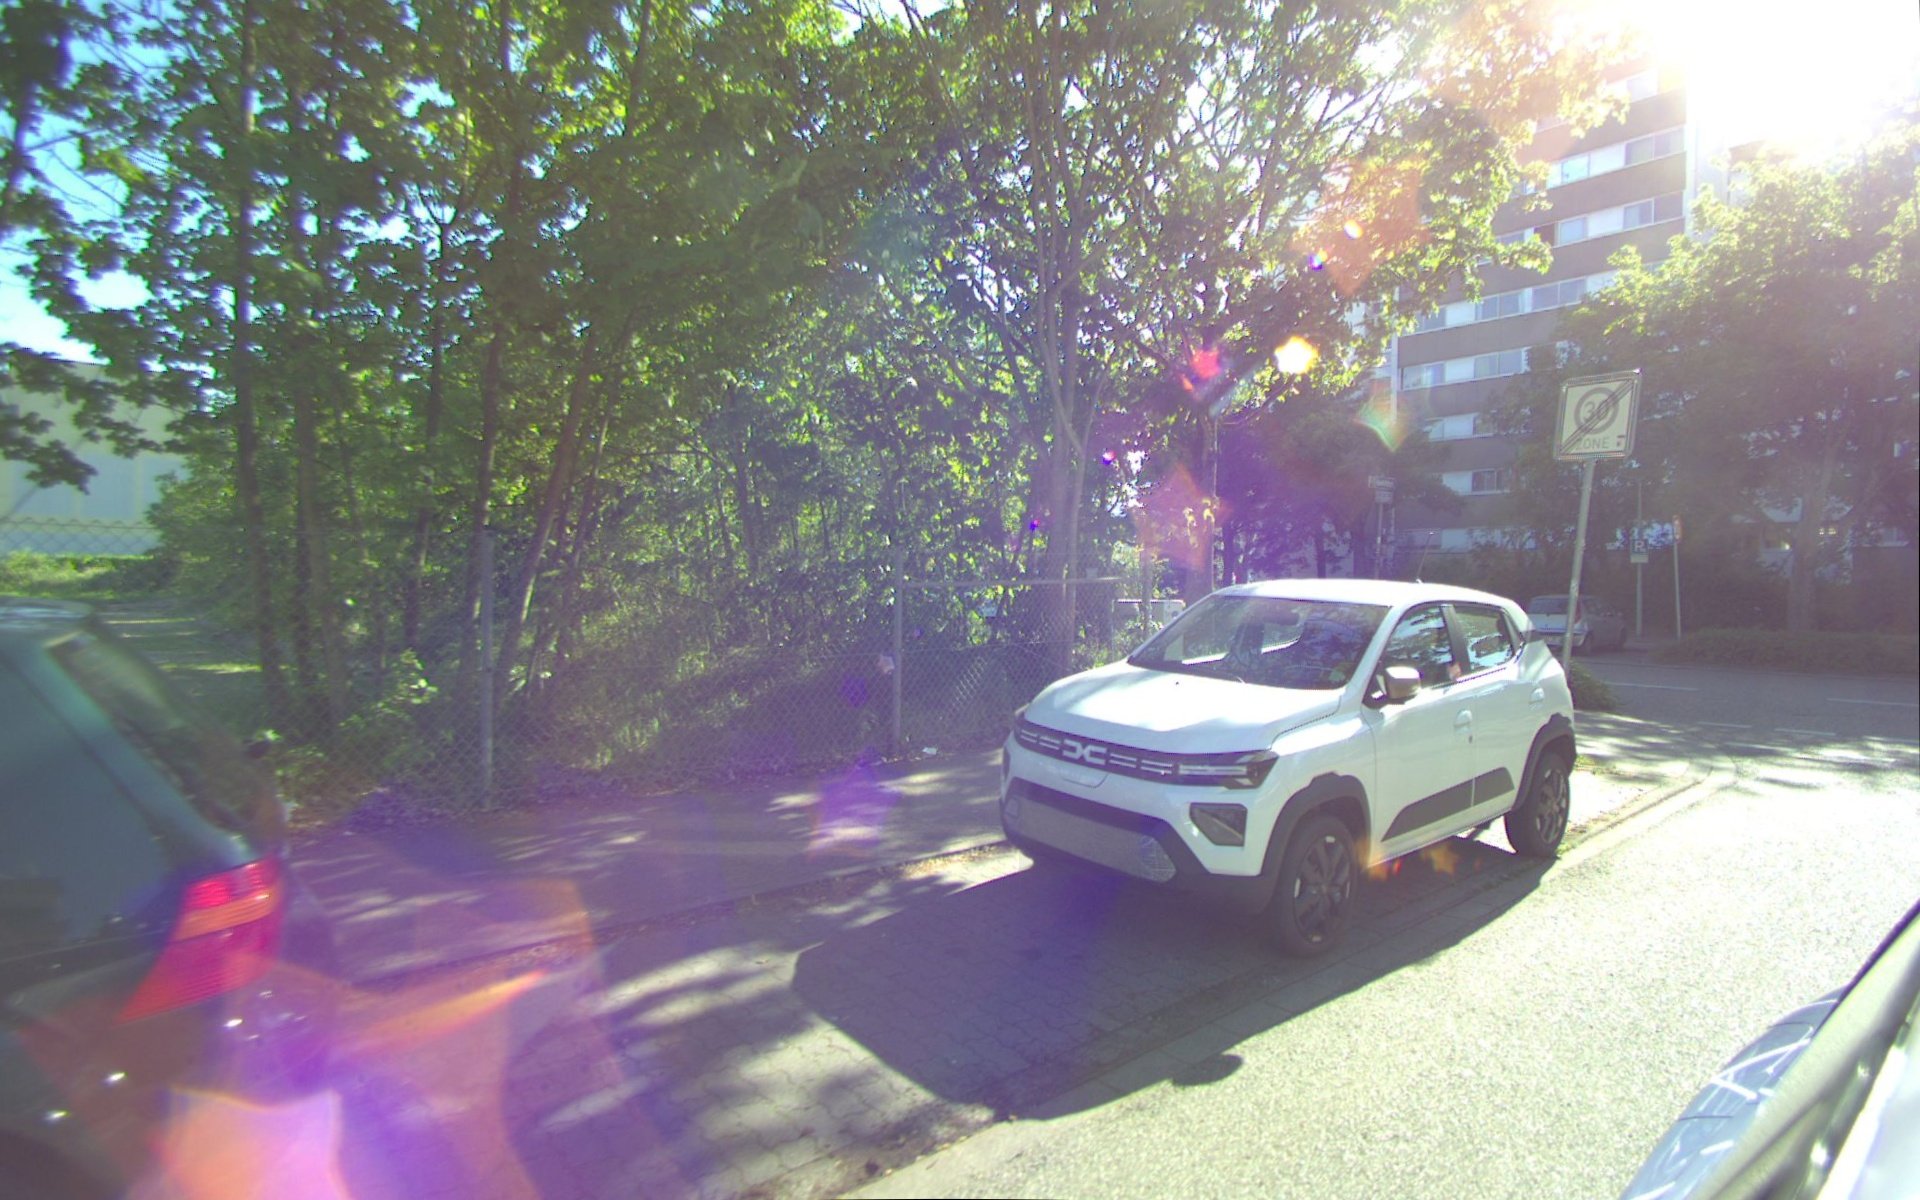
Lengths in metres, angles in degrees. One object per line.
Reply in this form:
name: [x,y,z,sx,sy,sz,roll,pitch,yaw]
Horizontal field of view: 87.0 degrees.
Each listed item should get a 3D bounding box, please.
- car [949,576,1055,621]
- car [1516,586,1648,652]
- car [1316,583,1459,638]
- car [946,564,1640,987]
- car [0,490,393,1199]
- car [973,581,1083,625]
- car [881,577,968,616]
car: [1.784,-0.104,41.775,4.375,1.667,1.813,-3,3,-42]
car: [15.772,0.416,25.610,3.930,1.469,1.715,-2,2,-40]
car: [12.232,0.297,28.872,4.207,1.446,1.827,1,0,-36]
car: [2.000,0.553,5.414,4.017,1.469,1.623,-2,2,-39]
car: [-3.150,0.580,1.278,3.997,1.490,1.828,-1,1,-40]
car: [2.658,0.071,38.966,4.283,1.508,1.735,-2,2,-42]
car: [-1.553,-0.192,44.999,3.638,1.541,1.647,-3,3,-42]
